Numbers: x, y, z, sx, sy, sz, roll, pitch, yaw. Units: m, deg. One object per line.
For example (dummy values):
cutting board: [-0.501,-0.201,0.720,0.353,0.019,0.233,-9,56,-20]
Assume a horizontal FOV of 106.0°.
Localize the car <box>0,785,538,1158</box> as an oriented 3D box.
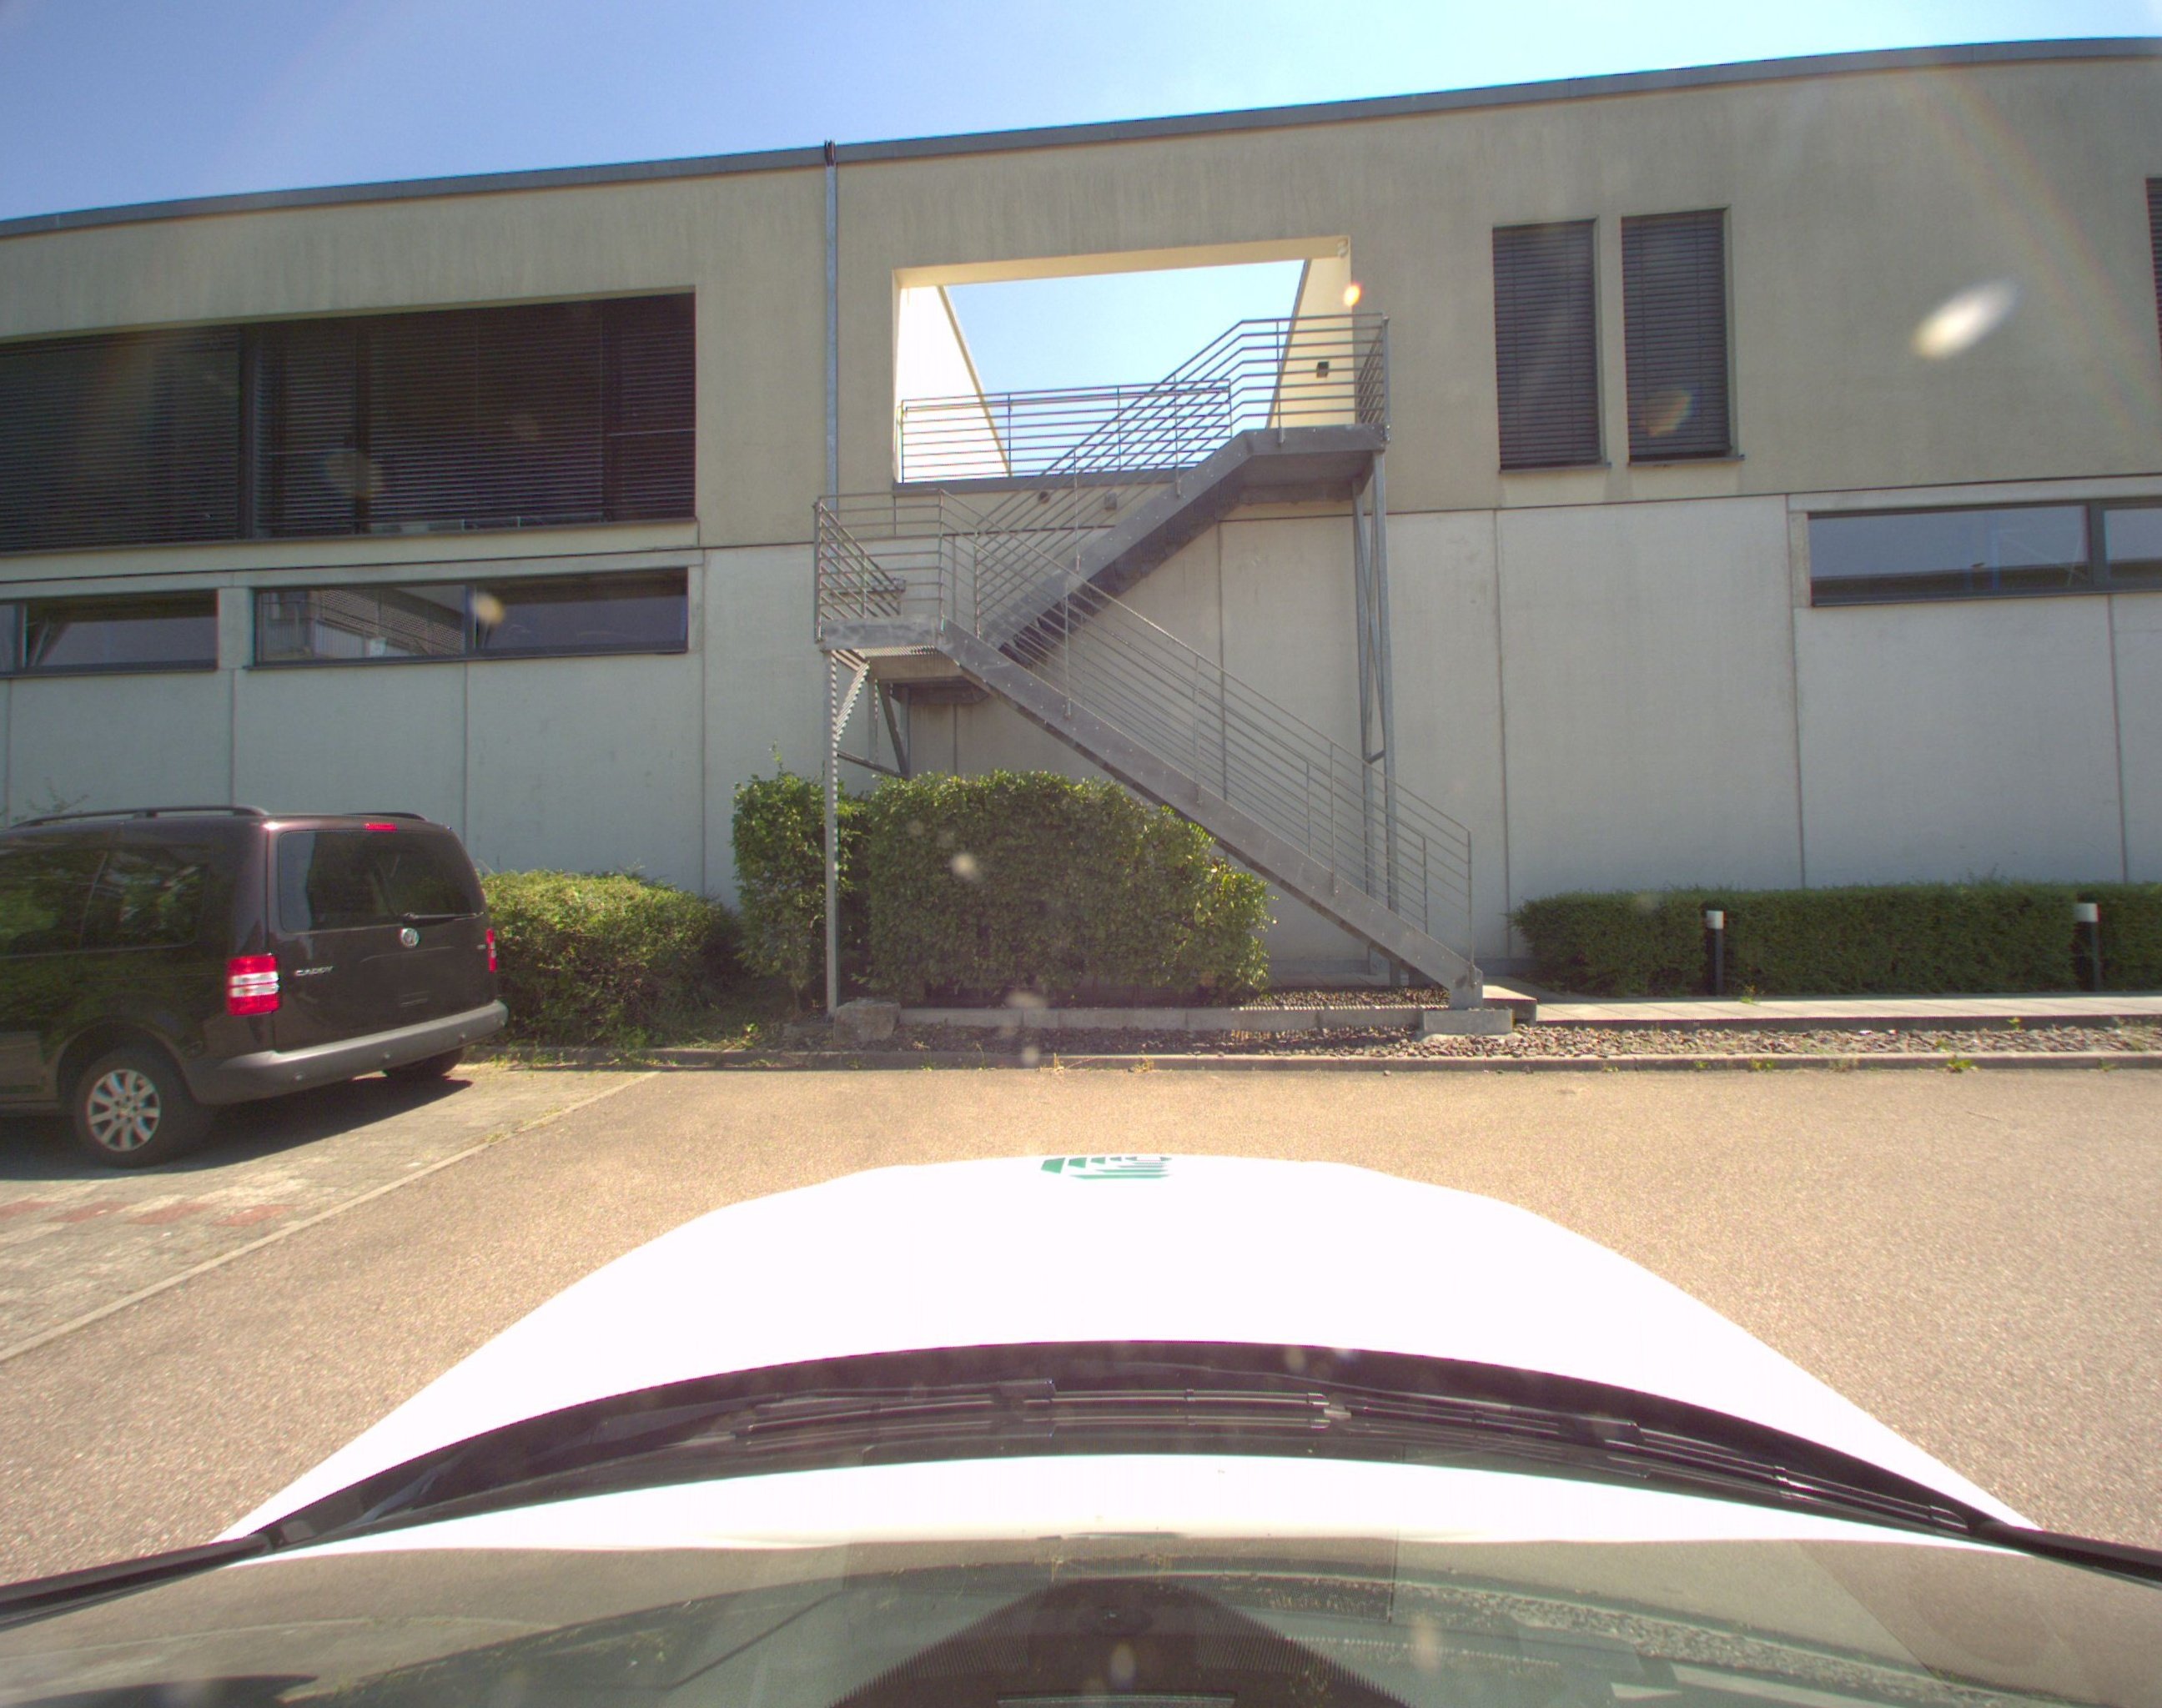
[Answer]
car: [-5.970,0.632,5.137,4.038,1.884,1.681,-1,0,5]
